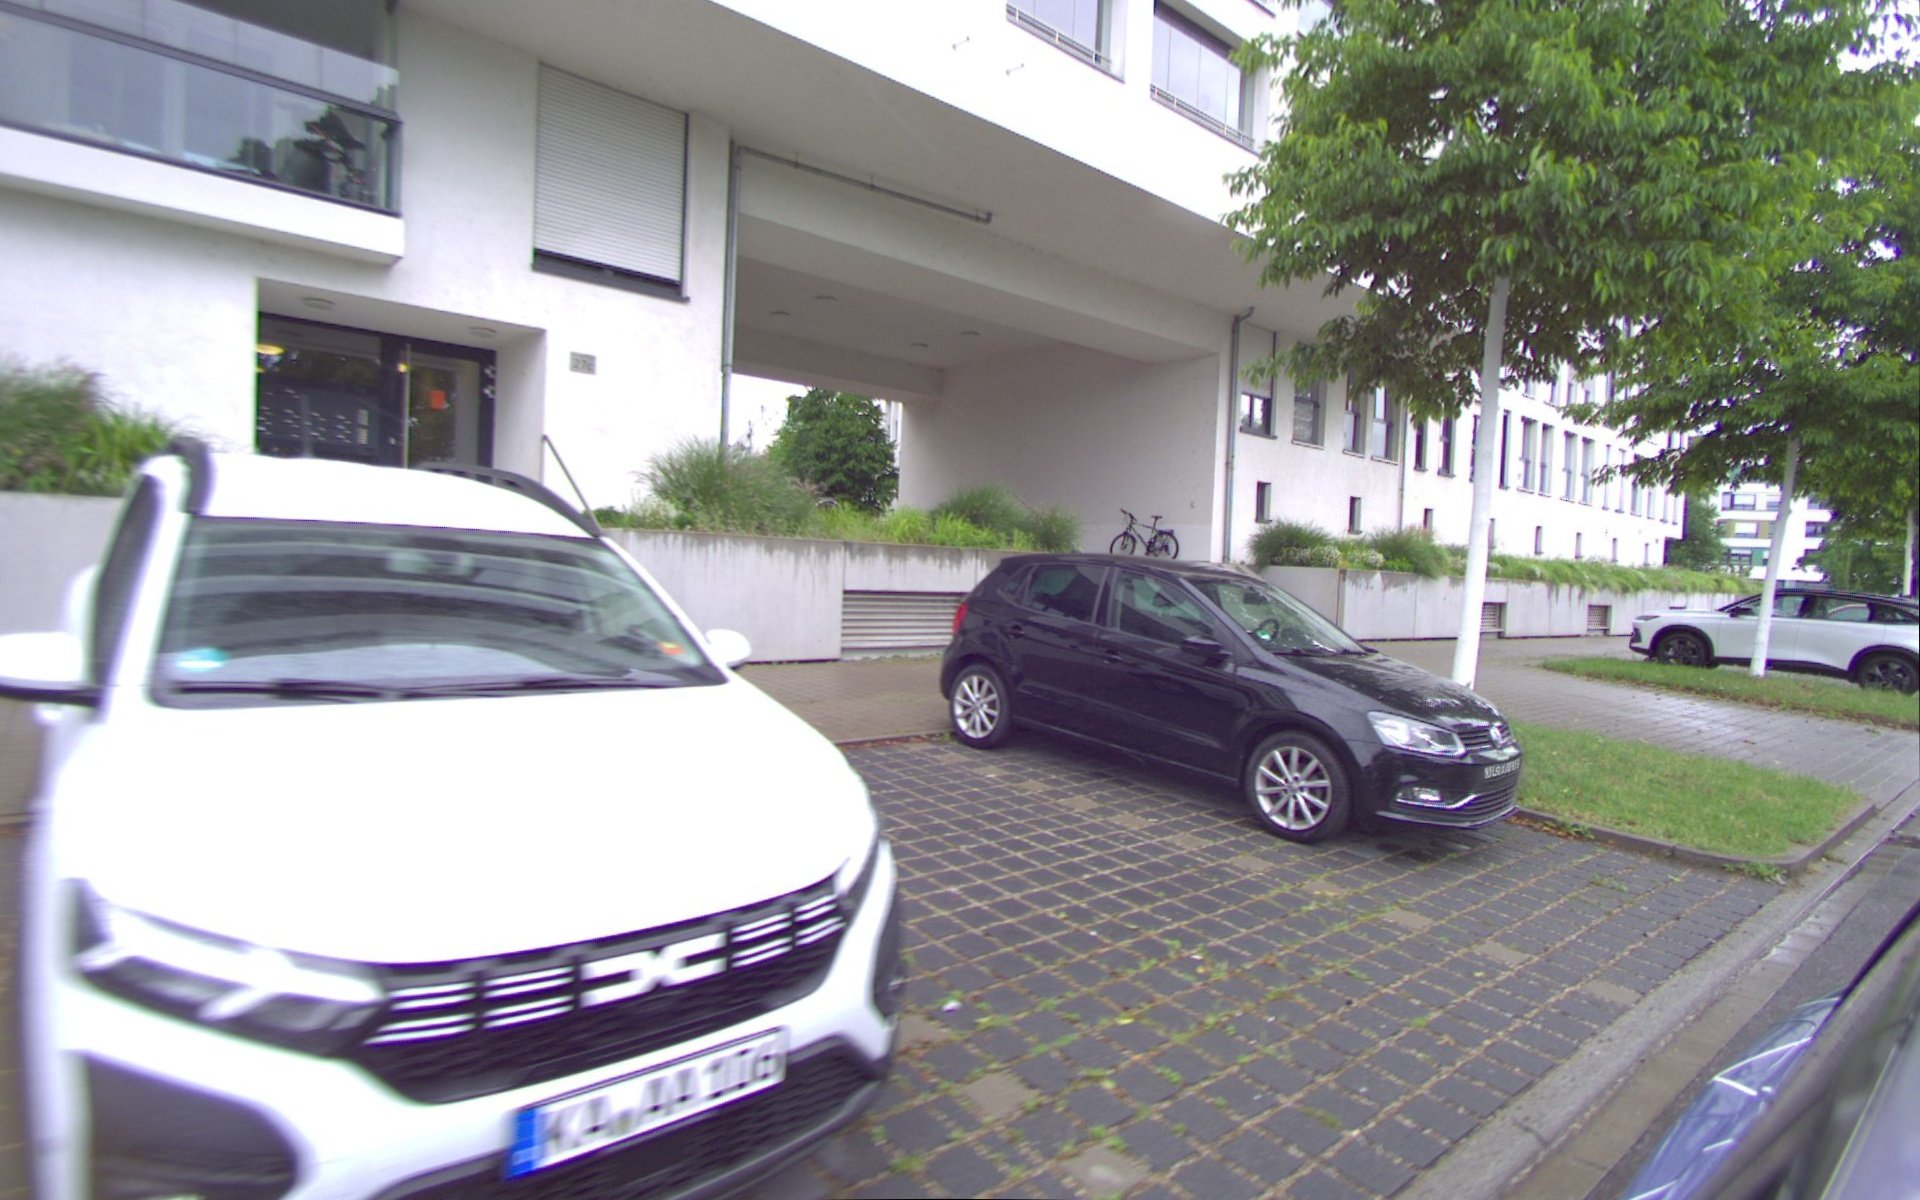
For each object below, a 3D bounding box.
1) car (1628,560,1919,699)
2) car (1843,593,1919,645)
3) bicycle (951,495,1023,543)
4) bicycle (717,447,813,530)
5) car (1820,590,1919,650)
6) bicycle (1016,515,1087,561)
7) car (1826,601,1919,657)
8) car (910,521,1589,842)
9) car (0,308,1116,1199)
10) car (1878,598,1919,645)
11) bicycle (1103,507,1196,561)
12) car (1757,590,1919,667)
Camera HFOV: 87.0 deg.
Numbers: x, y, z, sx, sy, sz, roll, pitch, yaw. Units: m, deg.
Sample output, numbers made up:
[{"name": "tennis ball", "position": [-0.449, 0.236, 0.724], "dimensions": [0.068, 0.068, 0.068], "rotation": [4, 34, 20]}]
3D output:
[{"name": "car", "position": [14.361, 0.439, 17.209], "dimensions": [1.854, 1.704, 4.552], "rotation": [0, 8, -42]}, {"name": "car", "position": [31.194, 0.727, 32.118], "dimensions": [1.662, 1.498, 4.500], "rotation": [1, 5, -40]}, {"name": "bicycle", "position": [0.664, -2.018, 25.574], "dimensions": [0.711, 1.132, 1.898], "rotation": [1, 1, -41]}, {"name": "bicycle", "position": [-3.305, -1.796, 16.867], "dimensions": [0.896, 1.132, 2.972], "rotation": [1, 1, -24]}, {"name": "car", "position": [28.835, 0.670, 30.583], "dimensions": [1.605, 1.574, 3.999], "rotation": [1, 5, -39]}, {"name": "bicycle", "position": [2.142, -1.452, 23.986], "dimensions": [0.439, 1.020, 1.898], "rotation": [1, 1, -41]}, {"name": "car", "position": [27.318, 0.848, 28.723], "dimensions": [1.564, 1.492, 3.962], "rotation": [0, 2, -42]}, {"name": "car", "position": [1.694, 0.291, 6.870], "dimensions": [1.904, 1.514, 3.992], "rotation": [1, 2, -43]}, {"name": "car", "position": [-1.883, 0.312, 3.385], "dimensions": [1.902, 1.706, 4.488], "rotation": [1, 5, -41]}, {"name": "car", "position": [34.711, 0.926, 34.661], "dimensions": [1.793, 1.514, 4.583], "rotation": [0, 5, -41]}, {"name": "bicycle", "position": [3.997, -1.381, 21.504], "dimensions": [0.711, 1.068, 1.898], "rotation": [1, 1, -41]}, {"name": "car", "position": [21.691, 0.674, 24.041], "dimensions": [1.789, 1.468, 3.997], "rotation": [-1, 6, -40]}]
